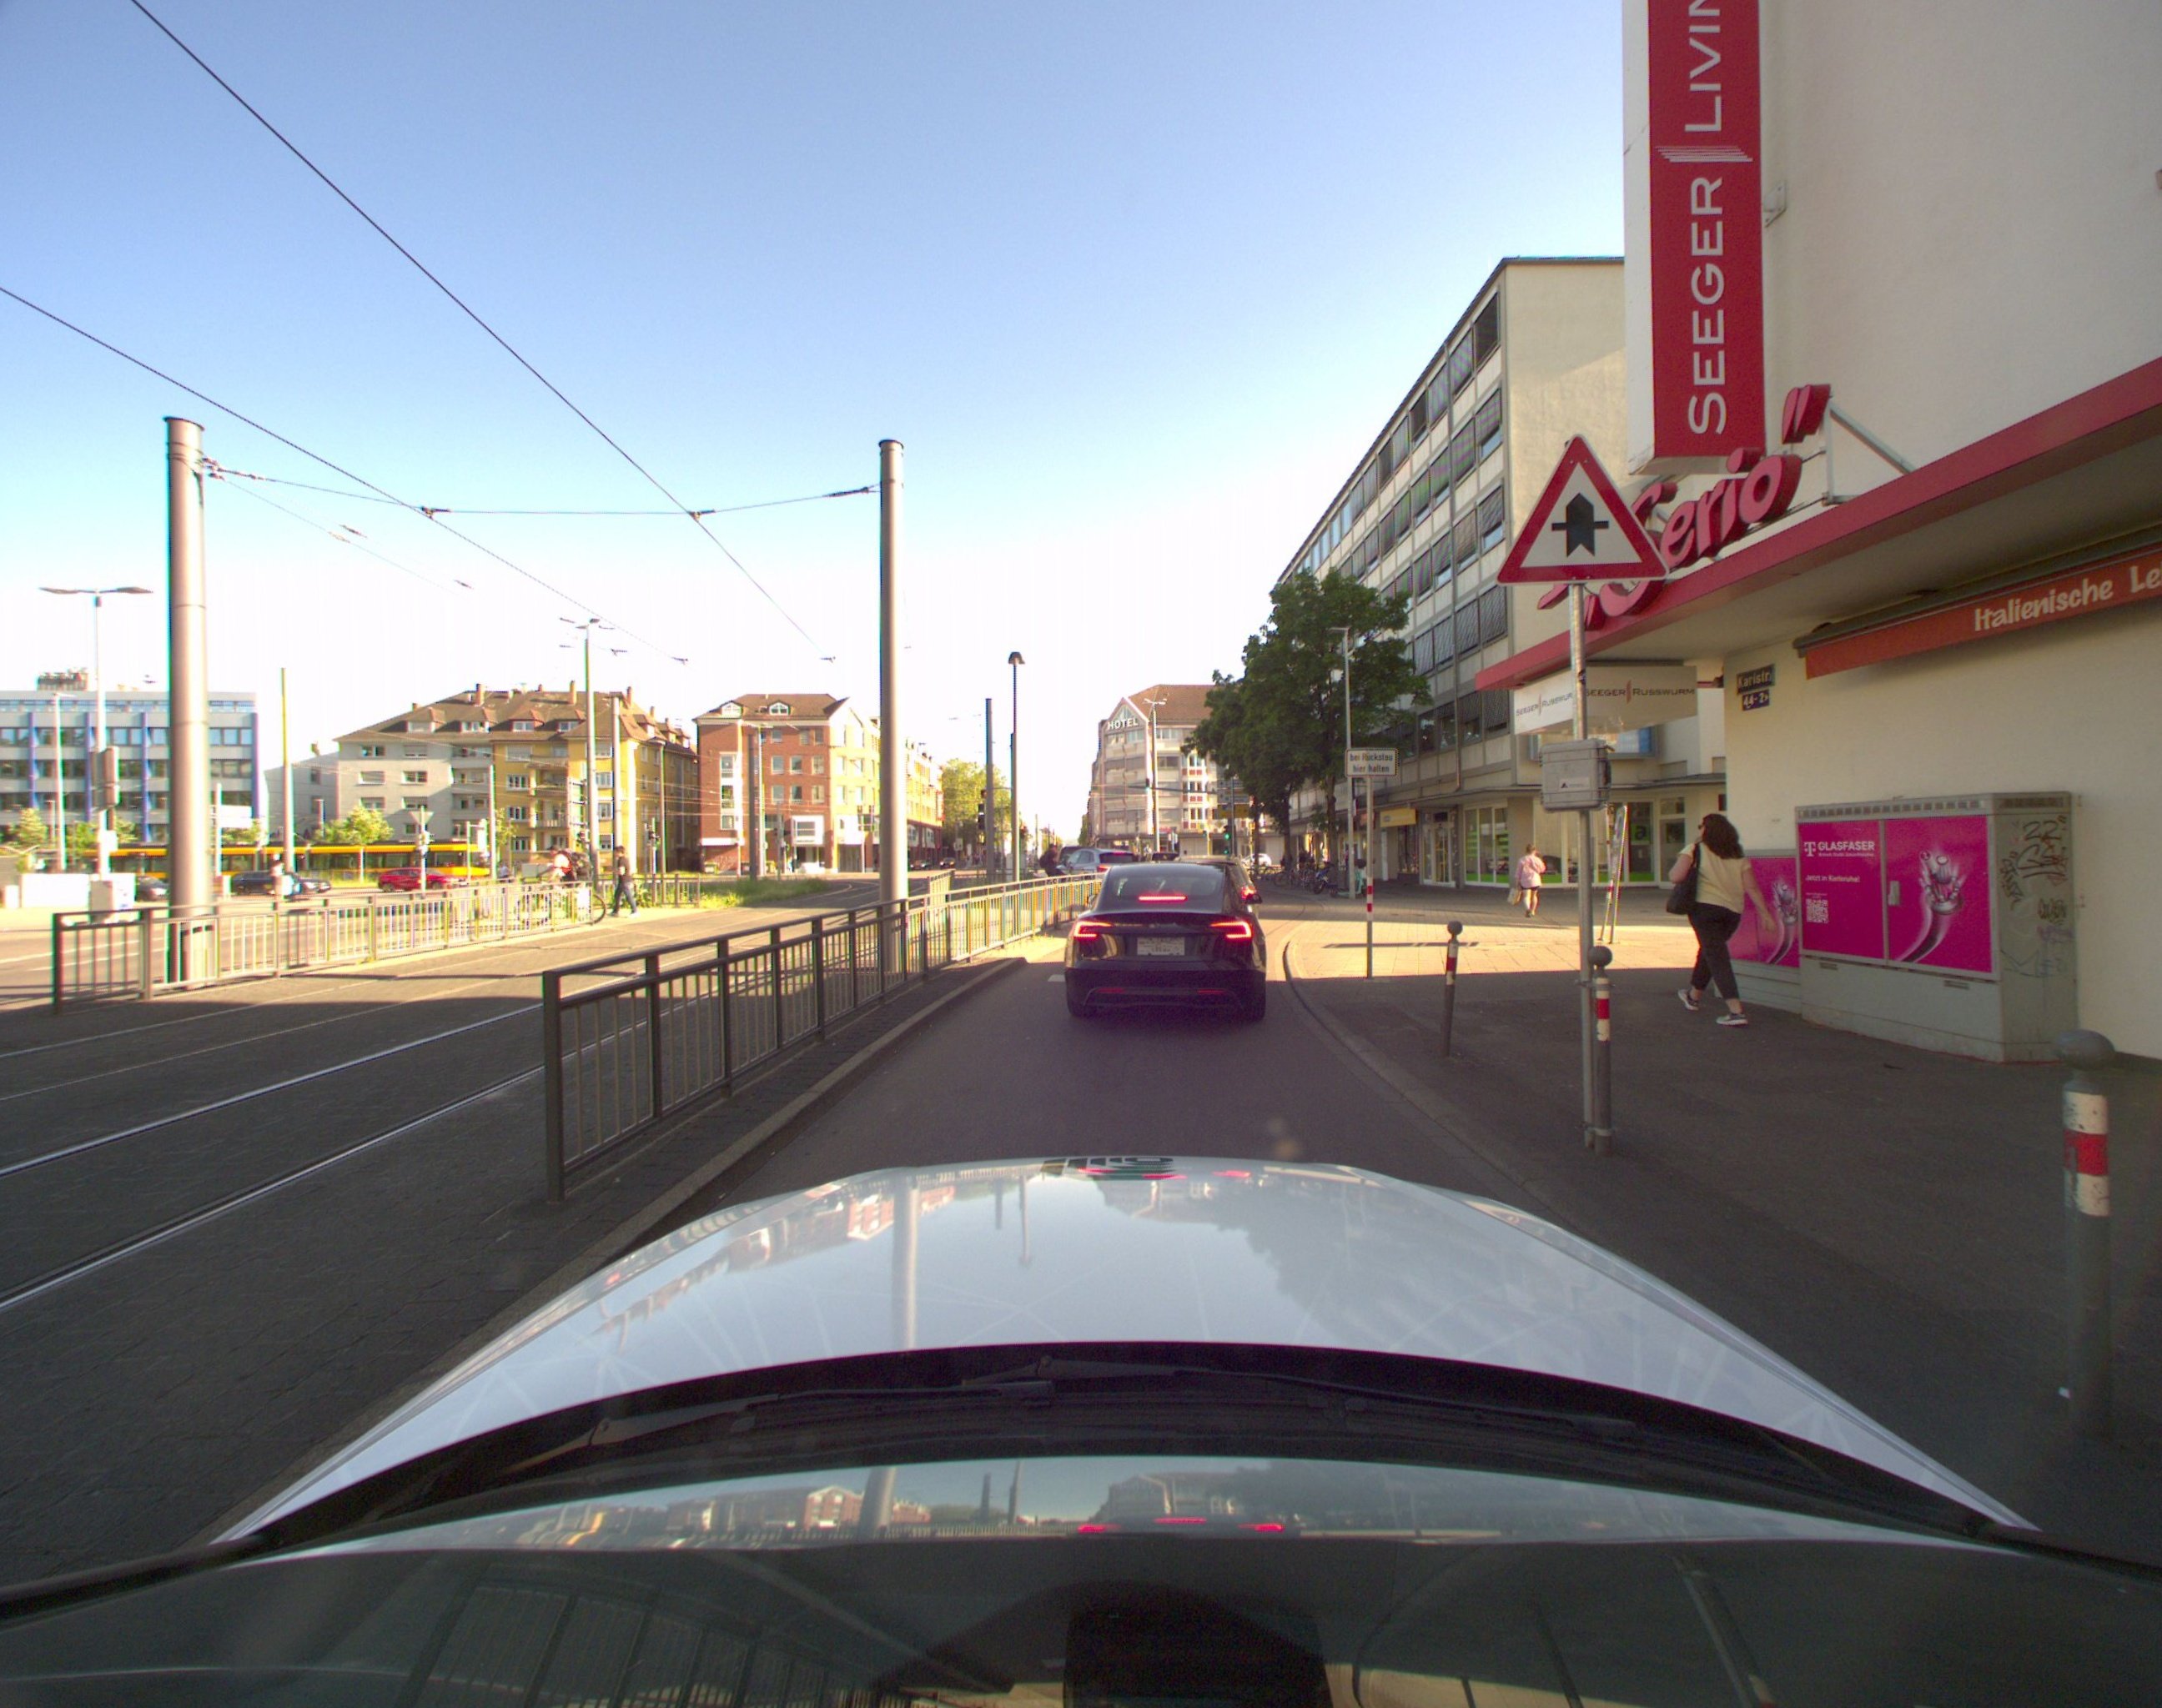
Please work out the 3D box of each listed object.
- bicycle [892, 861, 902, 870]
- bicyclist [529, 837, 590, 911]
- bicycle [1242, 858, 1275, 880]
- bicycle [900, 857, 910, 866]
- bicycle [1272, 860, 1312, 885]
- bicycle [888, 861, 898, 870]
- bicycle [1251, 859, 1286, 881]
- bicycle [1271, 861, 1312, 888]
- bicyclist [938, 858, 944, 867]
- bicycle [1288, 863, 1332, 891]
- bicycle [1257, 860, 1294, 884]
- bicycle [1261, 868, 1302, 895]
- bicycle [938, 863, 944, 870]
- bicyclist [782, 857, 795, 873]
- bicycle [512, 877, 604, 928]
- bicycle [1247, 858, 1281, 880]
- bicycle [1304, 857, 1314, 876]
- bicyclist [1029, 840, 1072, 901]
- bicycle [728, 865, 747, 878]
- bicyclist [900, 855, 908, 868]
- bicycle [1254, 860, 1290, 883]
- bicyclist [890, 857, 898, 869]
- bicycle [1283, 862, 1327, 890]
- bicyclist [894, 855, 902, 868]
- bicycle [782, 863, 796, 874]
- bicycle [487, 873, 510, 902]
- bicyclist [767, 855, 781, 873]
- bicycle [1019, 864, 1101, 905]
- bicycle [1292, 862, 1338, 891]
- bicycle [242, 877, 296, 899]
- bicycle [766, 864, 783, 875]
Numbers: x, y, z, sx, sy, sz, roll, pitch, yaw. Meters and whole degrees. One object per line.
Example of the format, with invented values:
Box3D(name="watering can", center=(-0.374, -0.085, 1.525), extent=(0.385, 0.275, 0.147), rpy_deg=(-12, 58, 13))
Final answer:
Box3D(name="bicycle", center=(-22.778, 1.391, 101.077), extent=(0.527, 1.089, 2.285), rpy_deg=(3, -2, 4))
Box3D(name="bicyclist", center=(-10.960, 0.407, 17.141), extent=(1.046, 1.521, 0.388), rpy_deg=(0, -1, -29))
Box3D(name="bicycle", center=(9.244, 0.787, 42.408), extent=(1.643, 1.099, 0.350), rpy_deg=(0, -1, 3))
Box3D(name="bicycle", center=(-22.439, 0.962, 103.905), extent=(0.527, 1.088, 2.286), rpy_deg=(0, -1, 4))
Box3D(name="bicycle", center=(9.118, 0.803, 35.273), extent=(1.643, 1.099, 0.350), rpy_deg=(0, -1, 3))
Box3D(name="bicycle", center=(-22.727, 1.354, 98.411), extent=(0.535, 1.088, 2.226), rpy_deg=(0, -1, 3))
Box3D(name="bicycle", center=(9.281, 0.794, 40.266), extent=(1.643, 1.099, 0.350), rpy_deg=(0, -1, 3))
Box3D(name="bicycle", center=(8.617, 0.843, 33.335), extent=(1.649, 1.099, 0.349), rpy_deg=(0, -1, -9))
Box3D(name="bicyclist", center=(-23.160, 1.379, 135.069), extent=(0.780, 1.563, 0.747), rpy_deg=(0, -1, 3))
Box3D(name="bicycle", center=(8.817, 0.874, 31.377), extent=(1.649, 1.061, 0.349), rpy_deg=(0, -1, -9))
Box3D(name="bicycle", center=(9.140, 0.833, 38.227), extent=(1.643, 1.099, 0.350), rpy_deg=(0, -1, 3))
Box3D(name="bicycle", center=(8.428, 1.150, 34.233), extent=(1.649, 1.099, 0.349), rpy_deg=(0, -1, -9))
Box3D(name="bicycle", center=(-23.183, 2.042, 134.743), extent=(0.527, 1.088, 2.227), rpy_deg=(0, -1, 4))
Box3D(name="bicyclist", center=(-26.893, 1.012, 74.963), extent=(0.699, 1.471, 0.975), rpy_deg=(-1, 0, 9))
Box3D(name="bicycle", center=(-10.962, 0.998, 17.124), extent=(1.607, 0.994, 0.400), rpy_deg=(0, -1, -30))
Box3D(name="bicycle", center=(9.263, 0.757, 41.313), extent=(1.643, 1.099, 0.350), rpy_deg=(-1, 0, 3))
Box3D(name="bicycle", center=(12.650, 0.683, 45.171), extent=(0.330, 1.034, 1.258), rpy_deg=(-1, -1, 6))
Box3D(name="bicyclist", center=(-0.849, 0.457, 22.342), extent=(0.763, 1.628, 0.967), rpy_deg=(0, -1, -37))
Box3D(name="bicycle", center=(-26.038, 1.330, 61.747), extent=(0.445, 0.972, 2.247), rpy_deg=(0, -1, 2))
Box3D(name="bicyclist", center=(-22.454, 0.973, 103.298), extent=(0.780, 1.563, 0.747), rpy_deg=(-1, 0, 3))
Box3D(name="bicycle", center=(9.205, 0.837, 39.253), extent=(1.643, 1.099, 0.350), rpy_deg=(0, -1, 3))
Box3D(name="bicyclist", center=(-22.704, 1.091, 98.811), extent=(0.780, 1.563, 0.747), rpy_deg=(0, -1, 3))
Box3D(name="bicycle", center=(8.731, 0.856, 31.803), extent=(1.649, 1.099, 0.349), rpy_deg=(0, -1, -9))
Box3D(name="bicyclist", center=(-22.703, 0.953, 101.205), extent=(0.780, 1.563, 0.747), rpy_deg=(-1, 0, 3))
Box3D(name="bicycle", center=(-26.852, 1.358, 74.947), extent=(0.402, 0.981, 1.699), rpy_deg=(-1, -1, 10))
Box3D(name="bicycle", center=(-25.191, 1.427, 35.233), extent=(0.486, 1.222, 1.839), rpy_deg=(0, -1, -26))
Box3D(name="bicyclist", center=(-25.814, 0.805, 68.548), extent=(0.895, 1.503, 0.696), rpy_deg=(0, -1, 1))
Box3D(name="bicycle", center=(-0.561, 0.825, 22.592), extent=(2.346, 1.053, 0.624), rpy_deg=(0, -1, -36))
Box3D(name="bicycle", center=(8.895, 0.856, 30.953), extent=(1.649, 1.099, 0.349), rpy_deg=(0, -1, -9))
Box3D(name="bicycle", center=(-45.189, 1.891, 45.359), extent=(2.188, 1.214, 0.544), rpy_deg=(0, -1, -11))
Box3D(name="bicycle", center=(-25.810, 1.295, 68.558), extent=(0.522, 0.972, 2.247), rpy_deg=(0, -1, 2))
